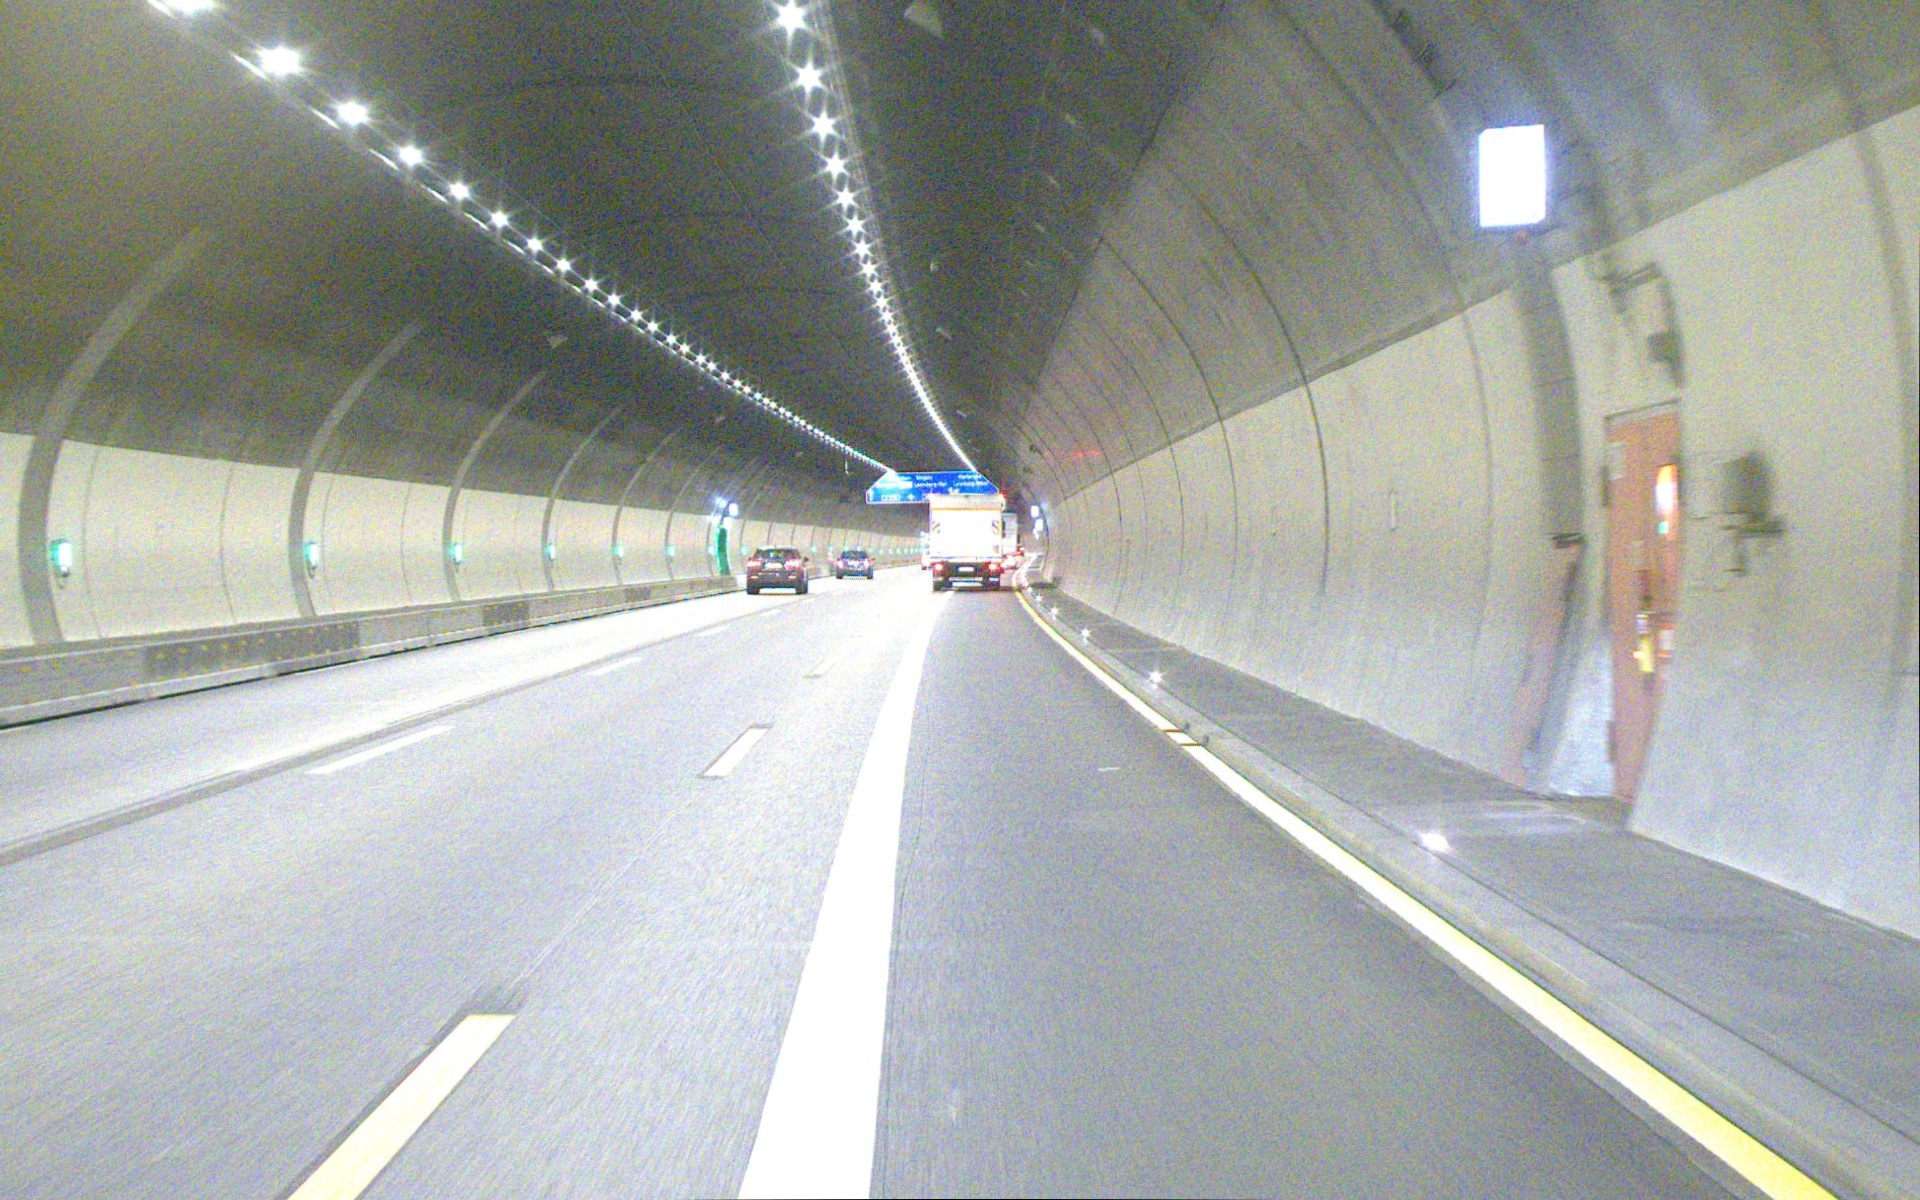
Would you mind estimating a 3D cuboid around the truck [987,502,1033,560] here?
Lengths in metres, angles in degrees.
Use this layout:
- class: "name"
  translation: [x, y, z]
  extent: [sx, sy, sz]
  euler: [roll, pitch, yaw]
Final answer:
- class: "truck"
  translation: [3.545, -4.978, 248.763]
  extent: [2.922, 4.034, 14.030]
  euler: [-2, 1, 0]

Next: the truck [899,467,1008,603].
- class: "truck"
  translation: [-0.382, -2.430, 128.503]
  extent: [3.278, 4.634, 17.289]
  euler: [-2, 1, -2]

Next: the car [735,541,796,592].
- class: "car"
  translation: [-6.283, -1.101, 111.496]
  extent: [1.812, 1.612, 4.000]
  euler: [0, 1, -1]

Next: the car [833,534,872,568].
- class: "car"
  translation: [-5.214, -2.378, 166.579]
  extent: [1.812, 1.514, 4.001]
  euler: [0, 3, -2]
